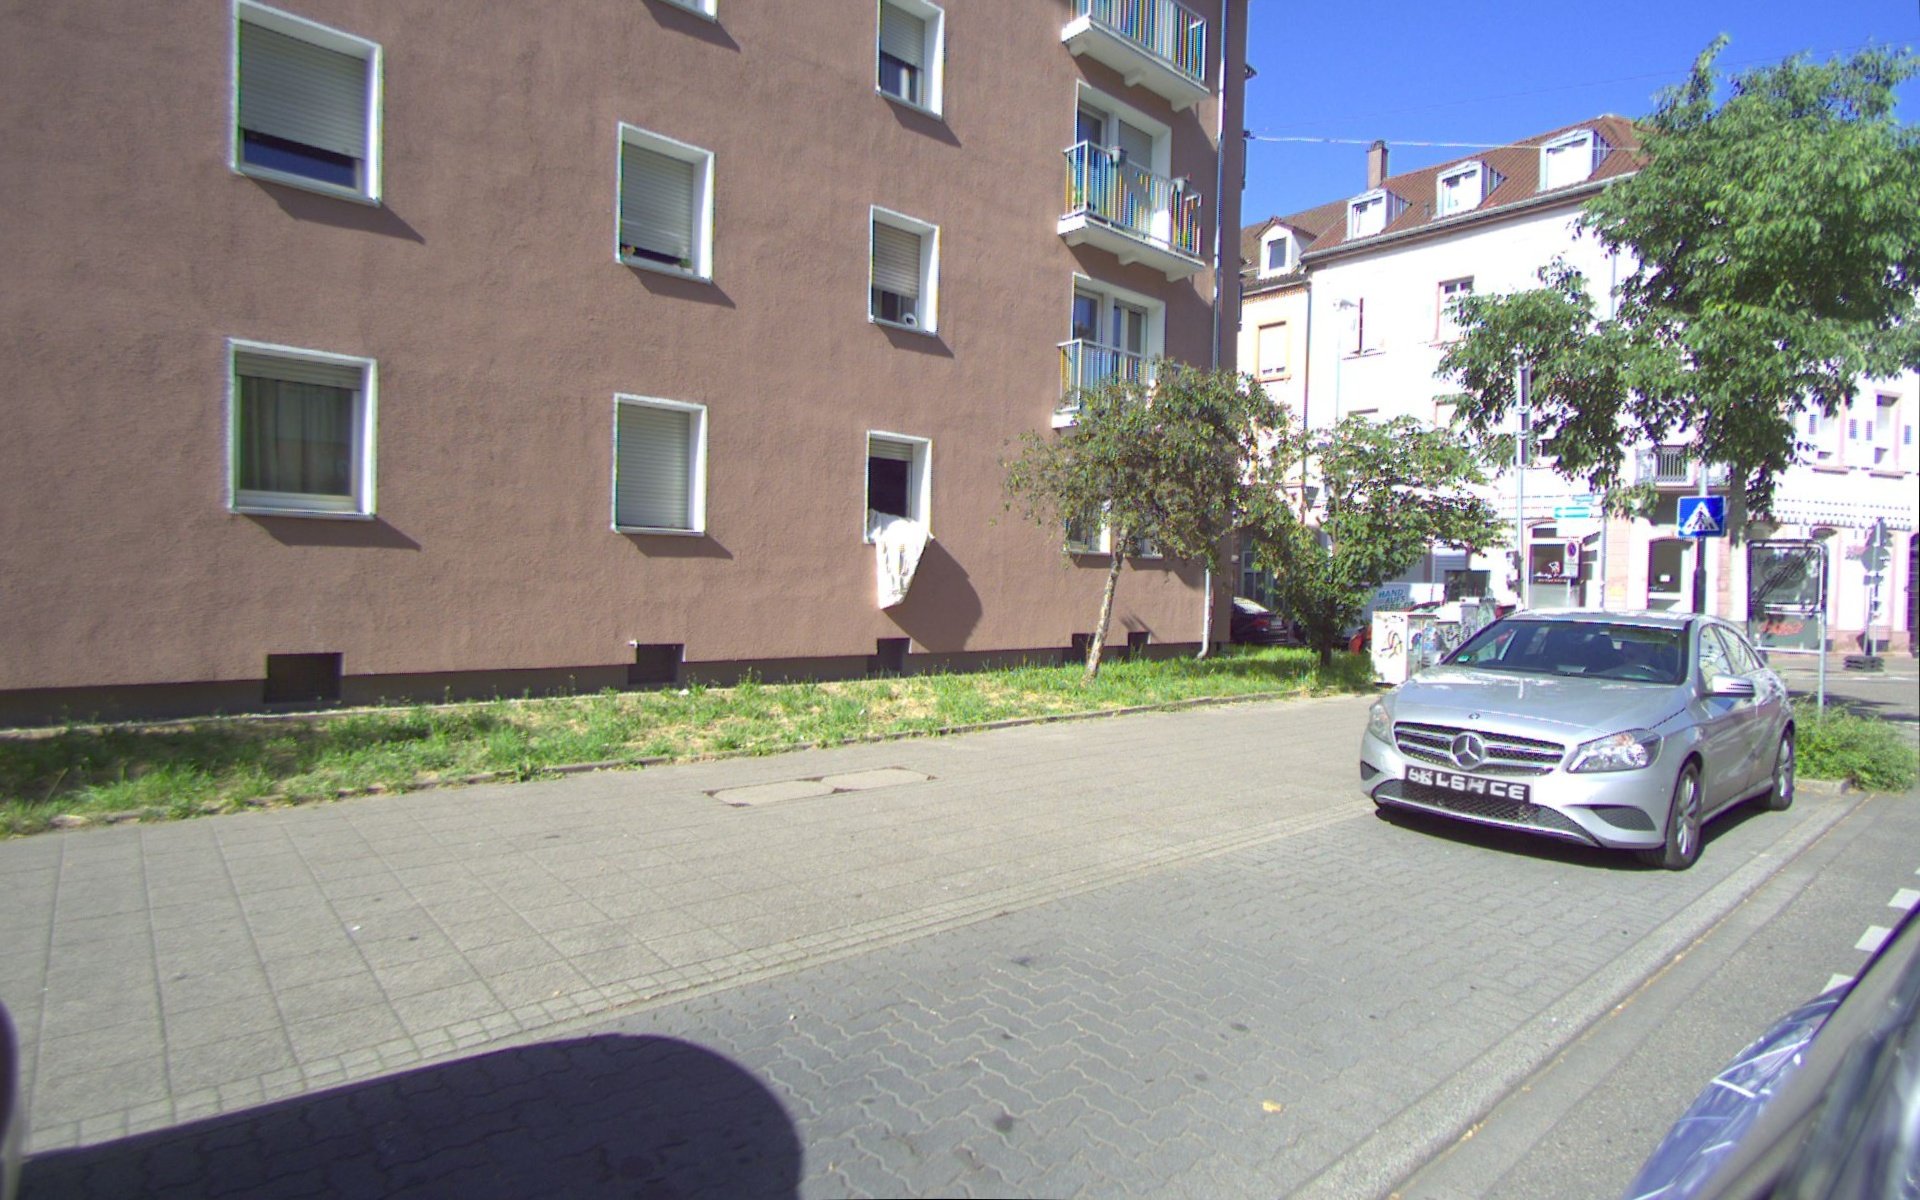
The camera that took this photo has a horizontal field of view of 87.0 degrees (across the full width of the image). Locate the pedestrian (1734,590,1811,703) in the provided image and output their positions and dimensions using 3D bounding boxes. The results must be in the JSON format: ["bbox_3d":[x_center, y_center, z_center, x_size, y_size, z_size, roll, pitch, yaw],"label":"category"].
[{"bbox_3d":[12.264,0.671,15.271,0.801,1.634,0.735,0,1,-38],"label":"pedestrian"}]

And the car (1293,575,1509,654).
[{"bbox_3d":[11.779,0.339,27.326,1.868,1.883,5.004,3,-1,-42],"label":"car"}]

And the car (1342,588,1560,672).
[{"bbox_3d":[10.279,0.555,21.367,1.661,1.519,3.800,-1,2,-42],"label":"car"}]

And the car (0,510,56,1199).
[{"bbox_3d":[-3.115,0.633,0.255,4.232,1.538,1.787,0,3,-40],"label":"car"}]

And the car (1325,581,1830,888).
[{"bbox_3d":[4.382,0.640,6.915,4.082,1.472,1.744,0,1,-40],"label":"car"}]

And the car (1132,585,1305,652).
[{"bbox_3d":[6.488,0.419,25.761,1.629,1.519,4.075,1,1,-40],"label":"car"}]
